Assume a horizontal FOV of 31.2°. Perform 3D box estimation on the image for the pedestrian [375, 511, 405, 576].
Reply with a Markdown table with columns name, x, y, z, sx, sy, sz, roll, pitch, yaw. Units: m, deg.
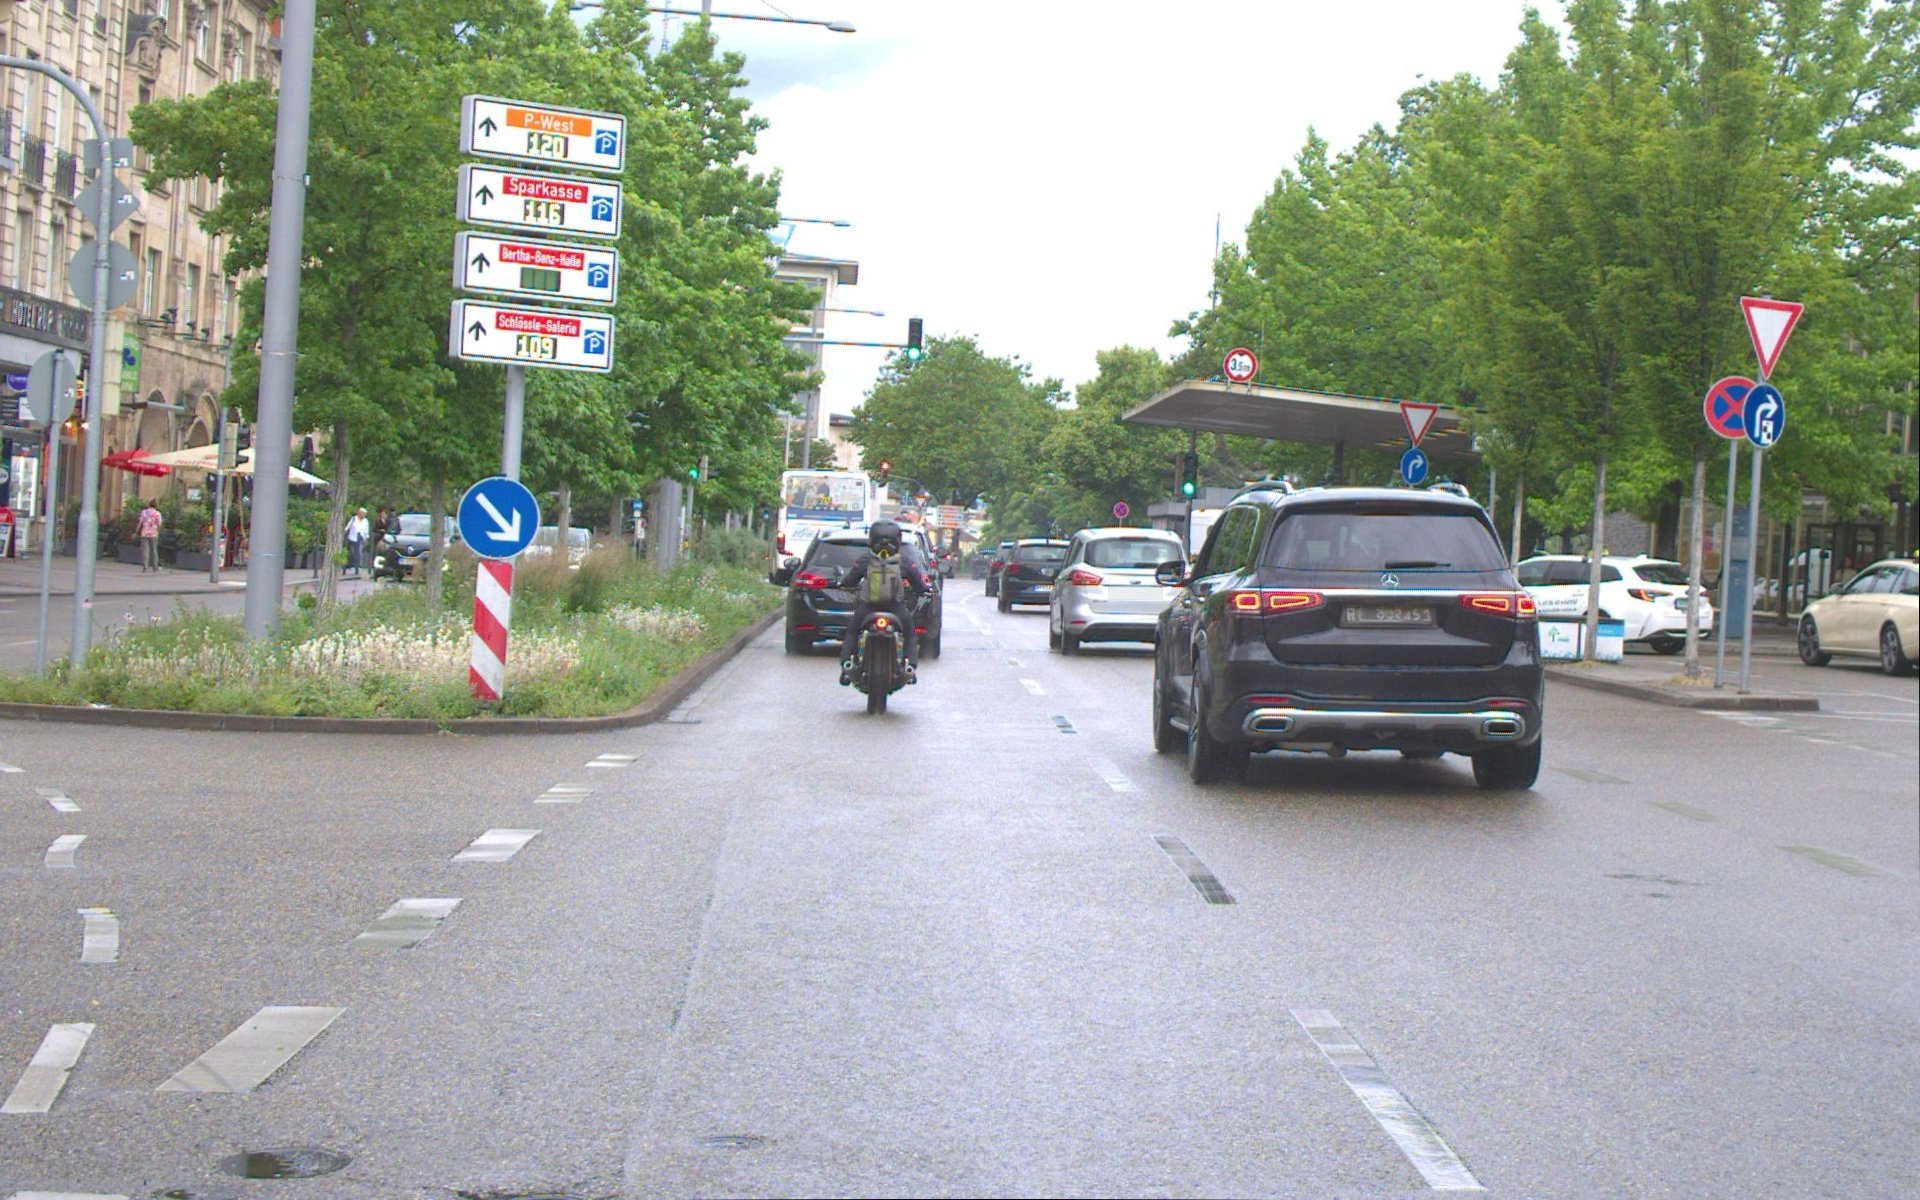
| name | x | y | z | sx | sy | sz | roll | pitch | yaw |
| --- | --- | --- | --- | --- | --- | --- | --- | --- | --- |
| pedestrian | -15.020 | -1.498 | 90.589 | 0.674 | 1.696 | 0.634 | 0 | 1 | -1 |

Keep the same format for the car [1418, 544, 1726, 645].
| name | x | y | z | sx | sy | sz | roll | pitch | yaw |
| --- | --- | --- | --- | --- | --- | --- | --- | --- | --- |
| car | 9.094 | -0.105 | 51.372 | 1.775 | 1.380 | 4.366 | 0 | 1 | -41 |

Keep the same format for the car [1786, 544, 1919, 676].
| name | x | y | z | sx | sy | sz | roll | pitch | yaw |
| --- | --- | --- | --- | --- | --- | --- | --- | --- | --- |
| car | 12.576 | 0.108 | 44.611 | 1.993 | 1.594 | 4.824 | 1 | 1 | -7 |

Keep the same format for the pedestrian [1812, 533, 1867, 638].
| name | x | y | z | sx | sy | sz | roll | pitch | yaw |
| --- | --- | --- | --- | --- | --- | --- | --- | --- | --- |
| pedestrian | 16.924 | -0.285 | 66.140 | 0.769 | 2.007 | 0.828 | 1 | 1 | -3 |

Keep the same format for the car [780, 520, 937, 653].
| name | x | y | z | sx | sy | sz | roll | pitch | yaw |
| --- | --- | --- | --- | --- | --- | --- | --- | --- | --- |
| car | -1.147 | -0.189 | 40.084 | 1.708 | 1.443 | 4.000 | 1 | 1 | -1 |

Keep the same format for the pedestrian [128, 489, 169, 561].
| name | x | y | z | sx | sy | sz | roll | pitch | yaw |
| --- | --- | --- | --- | --- | --- | --- | --- | --- | --- |
| pedestrian | -17.193 | -1.592 | 72.796 | 0.661 | 1.505 | 0.519 | 1 | 1 | -38 |

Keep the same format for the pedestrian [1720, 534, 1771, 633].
| name | x | y | z | sx | sy | sz | roll | pitch | yaw |
| --- | --- | --- | --- | --- | --- | --- | --- | --- | --- |
| pedestrian | 16.013 | -0.340 | 70.124 | 0.769 | 2.007 | 0.828 | 1 | 1 | -3 |

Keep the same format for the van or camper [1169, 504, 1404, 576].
| name | x | y | z | sx | sy | sz | roll | pitch | yaw |
| --- | --- | --- | --- | --- | --- | --- | --- | --- | --- |
| van or camper | 9.832 | -1.783 | 103.279 | 6.753 | 2.007 | 2.386 | 1 | 1 | -26 |

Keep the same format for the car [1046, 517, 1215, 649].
| name | x | y | z | sx | sy | sz | roll | pitch | yaw |
| --- | --- | --- | --- | --- | --- | --- | --- | --- | --- |
| car | 2.102 | -0.246 | 43.427 | 1.851 | 1.562 | 4.000 | 1 | 1 | -1 |

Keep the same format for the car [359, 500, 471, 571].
| name | x | y | z | sx | sy | sz | roll | pitch | yaw |
| --- | --- | --- | --- | --- | --- | --- | --- | --- | --- |
| car | -12.309 | -1.469 | 77.799 | 1.771 | 1.525 | 4.078 | 1 | 1 | 1 |

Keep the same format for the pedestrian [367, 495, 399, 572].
| name | x | y | z | sx | sy | sz | roll | pitch | yaw |
| --- | --- | --- | --- | --- | --- | --- | --- | --- | --- |
| pedestrian | -15.205 | -1.761 | 90.588 | 0.757 | 2.007 | 0.833 | 1 | 1 | -7 |

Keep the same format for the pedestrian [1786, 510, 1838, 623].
| name | x | y | z | sx | sy | sz | roll | pitch | yaw |
| --- | --- | --- | --- | --- | --- | --- | --- | --- | --- |
| pedestrian | 18.309 | -0.717 | 73.896 | 0.843 | 2.403 | 0.862 | 1 | 1 | 1 |

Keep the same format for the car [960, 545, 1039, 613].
| name | x | y | z | sx | sy | sz | roll | pitch | yaw |
| --- | --- | --- | --- | --- | --- | --- | --- | --- | --- |
| car | 0.995 | -0.559 | 88.766 | 1.810 | 1.637 | 3.904 | 2 | 1 | -2 |

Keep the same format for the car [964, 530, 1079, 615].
| name | x | y | z | sx | sy | sz | roll | pitch | yaw |
| --- | --- | --- | --- | --- | --- | --- | --- | --- | --- |
| car | 1.171 | -0.557 | 67.105 | 1.810 | 1.576 | 3.904 | 2 | 1 | -5 |

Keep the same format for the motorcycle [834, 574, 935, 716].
| name | x | y | z | sx | sy | sz | roll | pitch | yaw |
| --- | --- | --- | --- | --- | --- | --- | --- | --- | --- |
| motorcycle | -0.602 | 0.345 | 28.086 | 0.766 | 1.073 | 2.175 | 2 | 1 | 0 |

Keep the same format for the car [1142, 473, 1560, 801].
| name | x | y | z | sx | sy | sz | roll | pitch | yaw |
| --- | --- | --- | --- | --- | --- | --- | --- | --- | --- |
| car | 2.312 | 0.155 | 21.571 | 1.993 | 1.800 | 4.690 | 1 | 1 | -1 |

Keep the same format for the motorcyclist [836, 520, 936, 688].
| name | x | y | z | sx | sy | sz | roll | pitch | yaw |
| --- | --- | --- | --- | --- | --- | --- | --- | --- | --- |
| motorcyclist | -0.599 | 0.024 | 28.131 | 0.764 | 1.327 | 0.866 | 2 | 1 | 0 |

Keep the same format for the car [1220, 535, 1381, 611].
| name | x | y | z | sx | sy | sz | roll | pitch | yaw |
| --- | --- | --- | --- | --- | --- | --- | --- | --- | --- |
| car | 9.592 | -0.769 | 96.959 | 3.986 | 2.007 | 2.001 | 1 | 1 | -20 |

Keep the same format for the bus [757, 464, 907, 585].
| name | x | y | z | sx | sy | sz | roll | pitch | yaw |
| --- | --- | --- | --- | --- | --- | --- | --- | --- | --- |
| bus | -3.909 | -2.193 | 100.499 | 3.760 | 3.198 | 15.529 | 1 | 1 | -4 |
